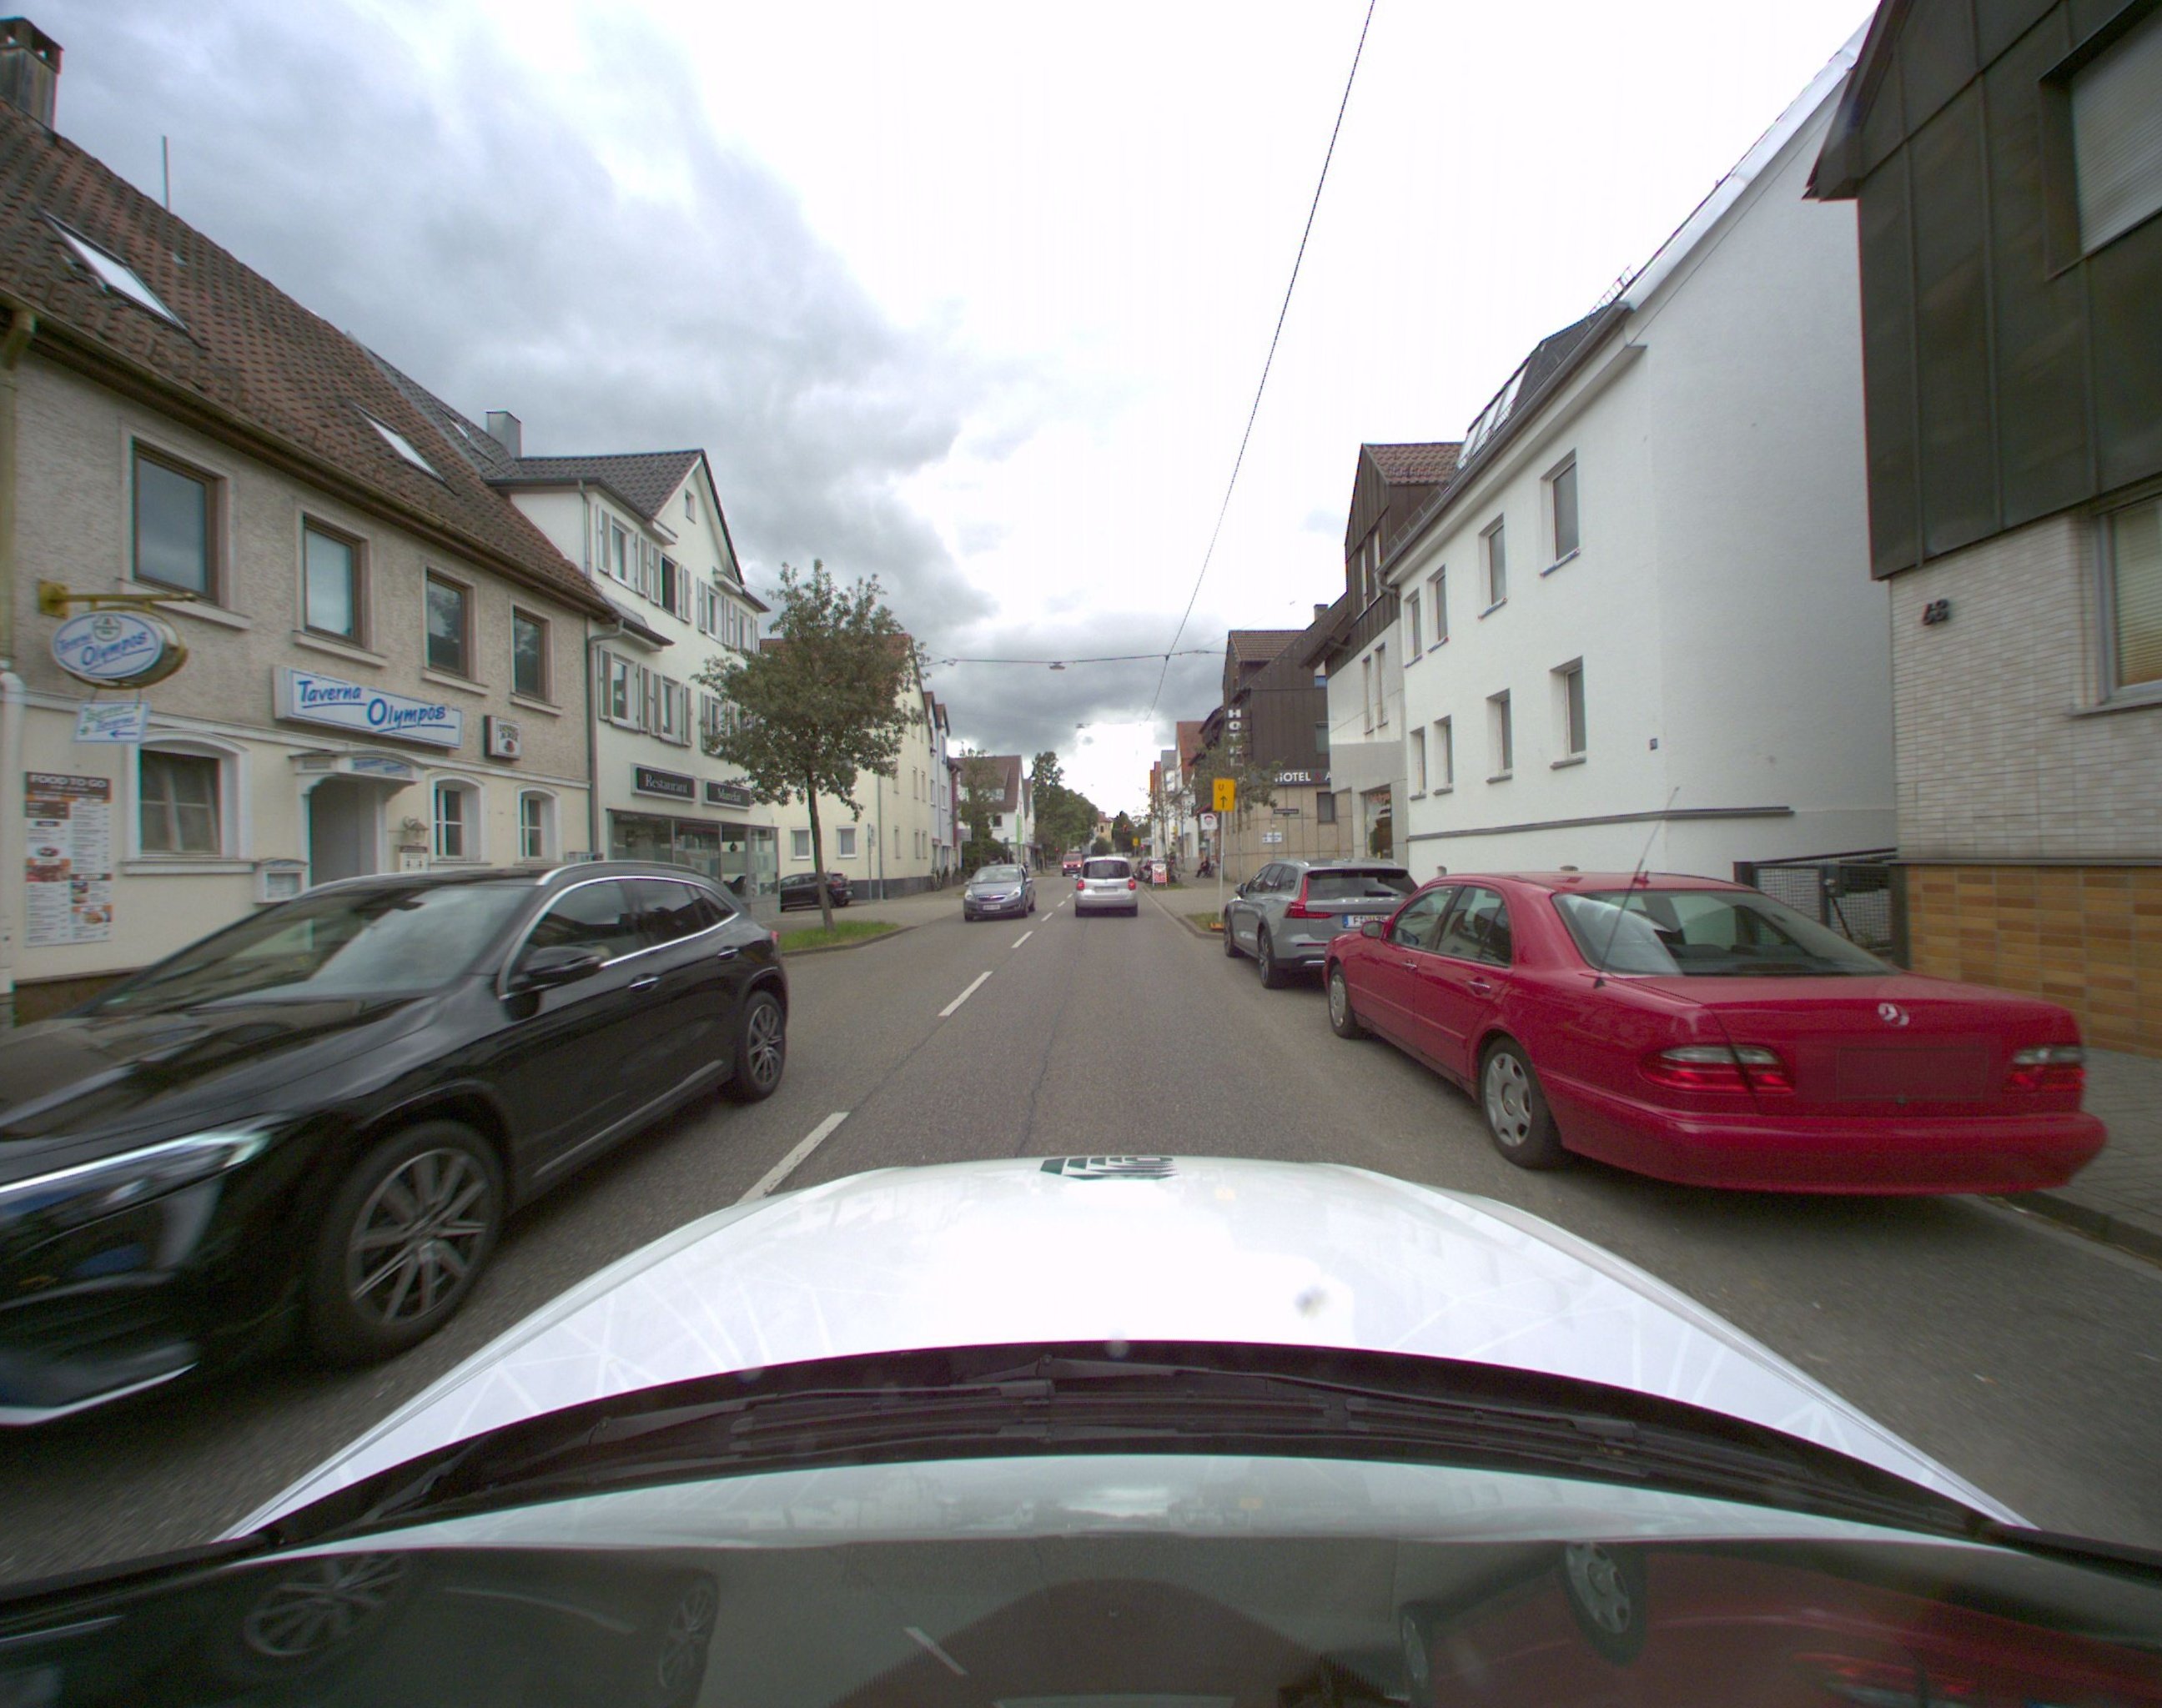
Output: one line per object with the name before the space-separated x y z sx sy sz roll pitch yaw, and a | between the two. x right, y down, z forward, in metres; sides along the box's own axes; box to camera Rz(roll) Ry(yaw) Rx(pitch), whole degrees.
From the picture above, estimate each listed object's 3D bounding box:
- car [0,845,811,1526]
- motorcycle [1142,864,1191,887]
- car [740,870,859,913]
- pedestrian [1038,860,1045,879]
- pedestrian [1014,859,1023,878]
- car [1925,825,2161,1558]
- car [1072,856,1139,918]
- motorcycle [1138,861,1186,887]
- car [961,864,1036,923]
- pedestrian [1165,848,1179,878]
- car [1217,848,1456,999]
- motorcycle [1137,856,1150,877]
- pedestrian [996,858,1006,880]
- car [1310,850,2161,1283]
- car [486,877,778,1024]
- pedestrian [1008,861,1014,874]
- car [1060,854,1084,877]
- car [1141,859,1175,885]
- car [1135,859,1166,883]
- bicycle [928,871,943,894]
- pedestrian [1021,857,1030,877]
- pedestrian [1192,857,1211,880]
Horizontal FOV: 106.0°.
car | -3.039 0.838 4.028 1.788 1.578 4.194 -3 -1 2
motorcycle | 4.613 1.156 43.893 2.744 1.183 0.693 0 -1 -29
car | -10.759 1.420 31.328 3.975 1.535 1.734 -1 -1 -1
pedestrian | -4.057 1.595 83.836 0.713 1.876 0.696 -1 -1 1
pedestrian | -6.016 1.374 78.294 0.713 1.756 0.696 -1 -1 1
car | 3.043 0.667 0.105 1.824 1.498 3.996 0 -1 2
car | 0.710 0.866 22.693 1.675 1.566 3.996 0 -1 2
motorcycle | 4.472 1.094 44.944 2.723 1.336 0.693 0 -1 -29
car | -2.241 1.053 23.102 1.677 1.447 4.018 -3 -1 -1
pedestrian | 5.939 0.616 53.144 0.853 1.928 0.900 -1 -1 2
car | 2.998 0.742 10.632 1.868 1.539 4.515 -1 -1 2
motorcycle | 5.003 1.010 65.266 0.693 1.639 2.417 -1 -1 11
pedestrian | -6.556 1.215 66.752 0.760 1.791 0.890 -1 -1 1
car | 2.938 0.737 5.002 1.750 1.446 4.452 0 -1 -1
car | -5.656 1.112 10.909 1.678 1.447 4.018 -3 -1 -1
pedestrian | -6.737 1.322 78.514 0.490 1.278 0.588 -1 -1 2
car | -0.759 1.024 72.206 1.945 2.014 4.001 -1 -1 2
car | 4.510 1.037 48.094 1.694 1.430 3.891 -1 -1 1
car | 4.479 1.088 52.909 1.694 1.467 4.240 -1 -1 1
bicycle | -7.509 1.444 42.144 0.513 1.153 1.665 -1 -1 -1
pedestrian | -5.296 1.272 77.866 0.759 1.876 0.696 -1 -1 1
pedestrian | 7.363 0.861 49.780 0.884 1.300 0.967 -5 -1 2
